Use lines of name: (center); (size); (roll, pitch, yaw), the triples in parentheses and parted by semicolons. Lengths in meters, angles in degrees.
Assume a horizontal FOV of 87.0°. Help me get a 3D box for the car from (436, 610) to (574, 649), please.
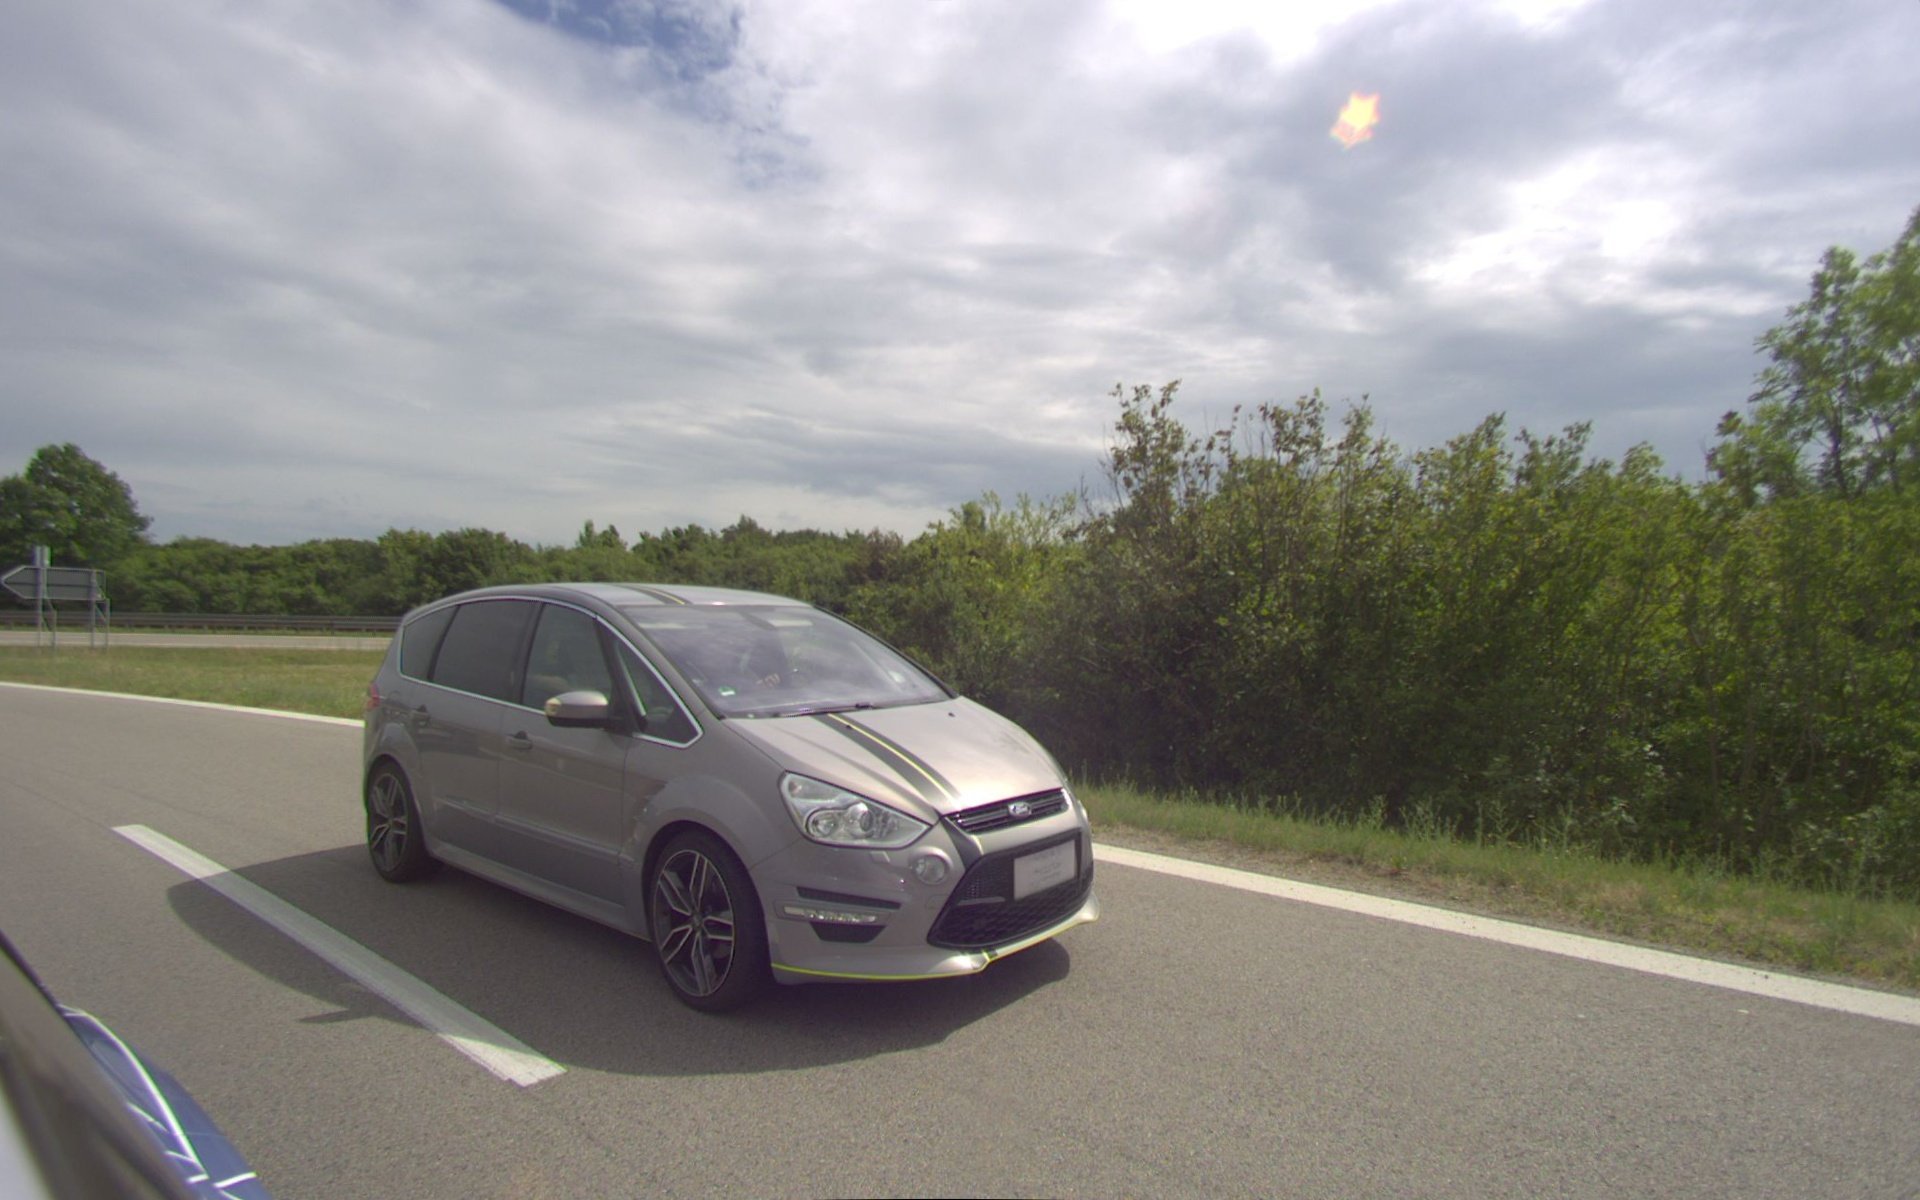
car: (-17.862, 1.167, 39.894); (4.521, 1.434, 2.000); (1, -1, -1)

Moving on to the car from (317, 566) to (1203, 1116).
car: (-1.315, 0.728, 5.185); (4.582, 1.589, 2.001); (0, -2, 39)

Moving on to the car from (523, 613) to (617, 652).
car: (-20.212, 1.670, 52.544); (4.148, 1.887, 1.844); (-1, 0, 0)
